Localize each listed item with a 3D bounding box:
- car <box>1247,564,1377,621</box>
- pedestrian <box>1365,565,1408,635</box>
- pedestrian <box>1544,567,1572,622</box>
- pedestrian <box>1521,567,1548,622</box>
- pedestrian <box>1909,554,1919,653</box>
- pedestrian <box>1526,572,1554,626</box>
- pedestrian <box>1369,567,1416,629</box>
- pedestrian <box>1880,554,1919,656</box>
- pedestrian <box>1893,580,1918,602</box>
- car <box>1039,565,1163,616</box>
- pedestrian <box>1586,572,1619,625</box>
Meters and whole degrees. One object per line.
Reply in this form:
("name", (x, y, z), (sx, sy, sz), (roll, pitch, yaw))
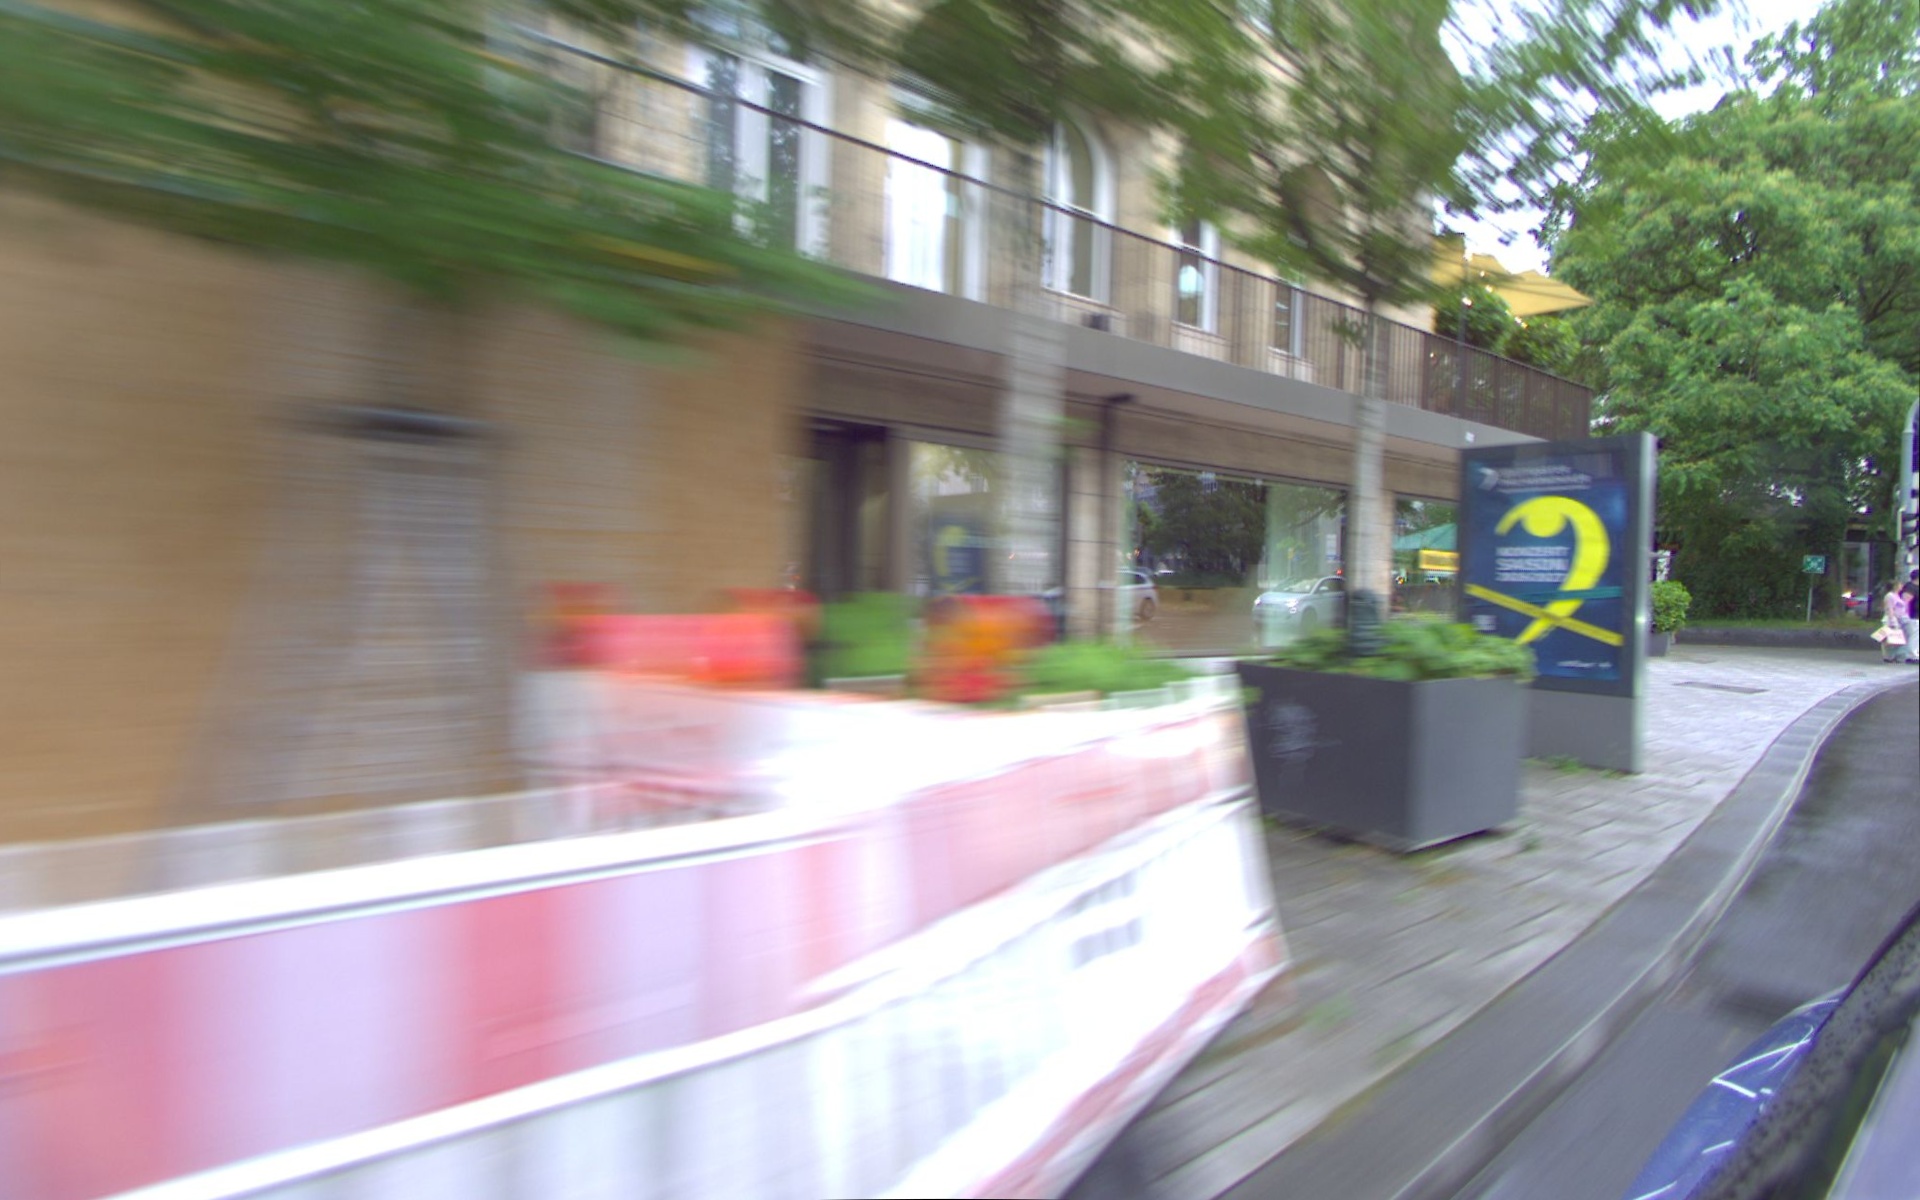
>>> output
("car", (10.066, -0.240, 28.834), (3.928, 1.517, 1.670), (-1, 1, -39))
("pedestrian", (6.655, 0.002, 15.811), (0.400, 1.069, 0.545), (0, 0, -6))
("pedestrian", (18.794, -0.178, 31.812), (0.537, 1.702, 0.499), (0, 0, 2))
("pedestrian", (18.057, -0.169, 31.811), (0.537, 1.702, 0.499), (0, 0, 2))
("pedestrian", (18.299, 0.066, 18.960), (0.552, 1.857, 0.635), (-1, 2, -33))
("pedestrian", (18.586, -0.040, 32.432), (0.537, 1.702, 0.605), (0, 0, 1))
("pedestrian", (7.580, -0.033, 17.742), (0.534, 1.069, 0.556), (0, 0, -34))
("pedestrian", (17.510, 0.079, 18.685), (0.585, 1.857, 0.624), (0, 2, 26))
("pedestrian", (37.651, -0.361, 40.303), (0.567, 0.883, 0.505), (1, 2, 24))
("car", (4.524, -0.332, 32.149), (3.928, 1.517, 1.670), (-1, 1, -39))
("pedestrian", (20.549, -0.049, 32.395), (0.670, 1.702, 0.571), (0, 0, 2))
